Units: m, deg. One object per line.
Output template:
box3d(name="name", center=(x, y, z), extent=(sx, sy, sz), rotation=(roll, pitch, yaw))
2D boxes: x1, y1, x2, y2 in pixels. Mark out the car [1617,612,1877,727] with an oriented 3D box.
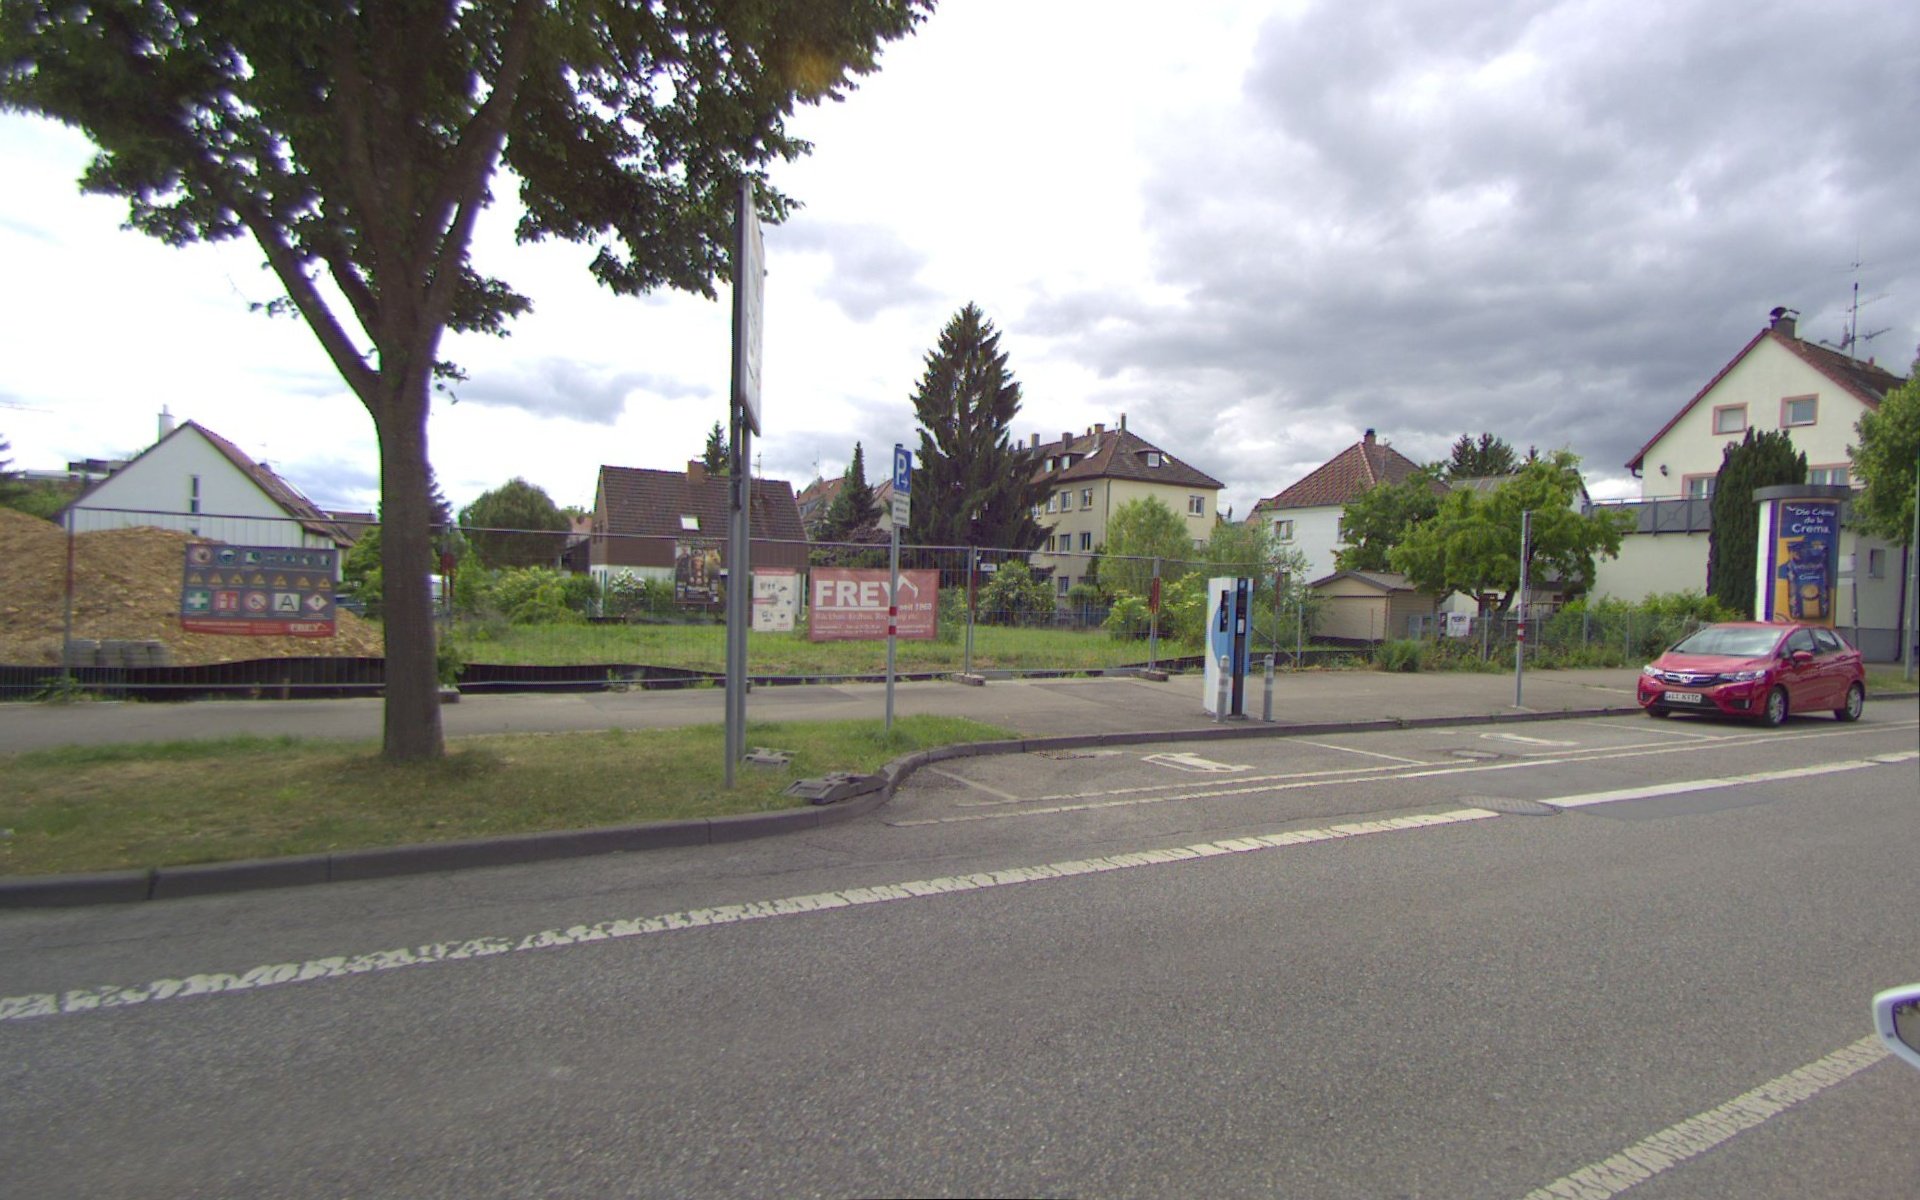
box3d(name="car", center=(12.331, 1.019, 15.705), extent=(4.080, 1.561, 1.678), rotation=(1, 0, -28))
